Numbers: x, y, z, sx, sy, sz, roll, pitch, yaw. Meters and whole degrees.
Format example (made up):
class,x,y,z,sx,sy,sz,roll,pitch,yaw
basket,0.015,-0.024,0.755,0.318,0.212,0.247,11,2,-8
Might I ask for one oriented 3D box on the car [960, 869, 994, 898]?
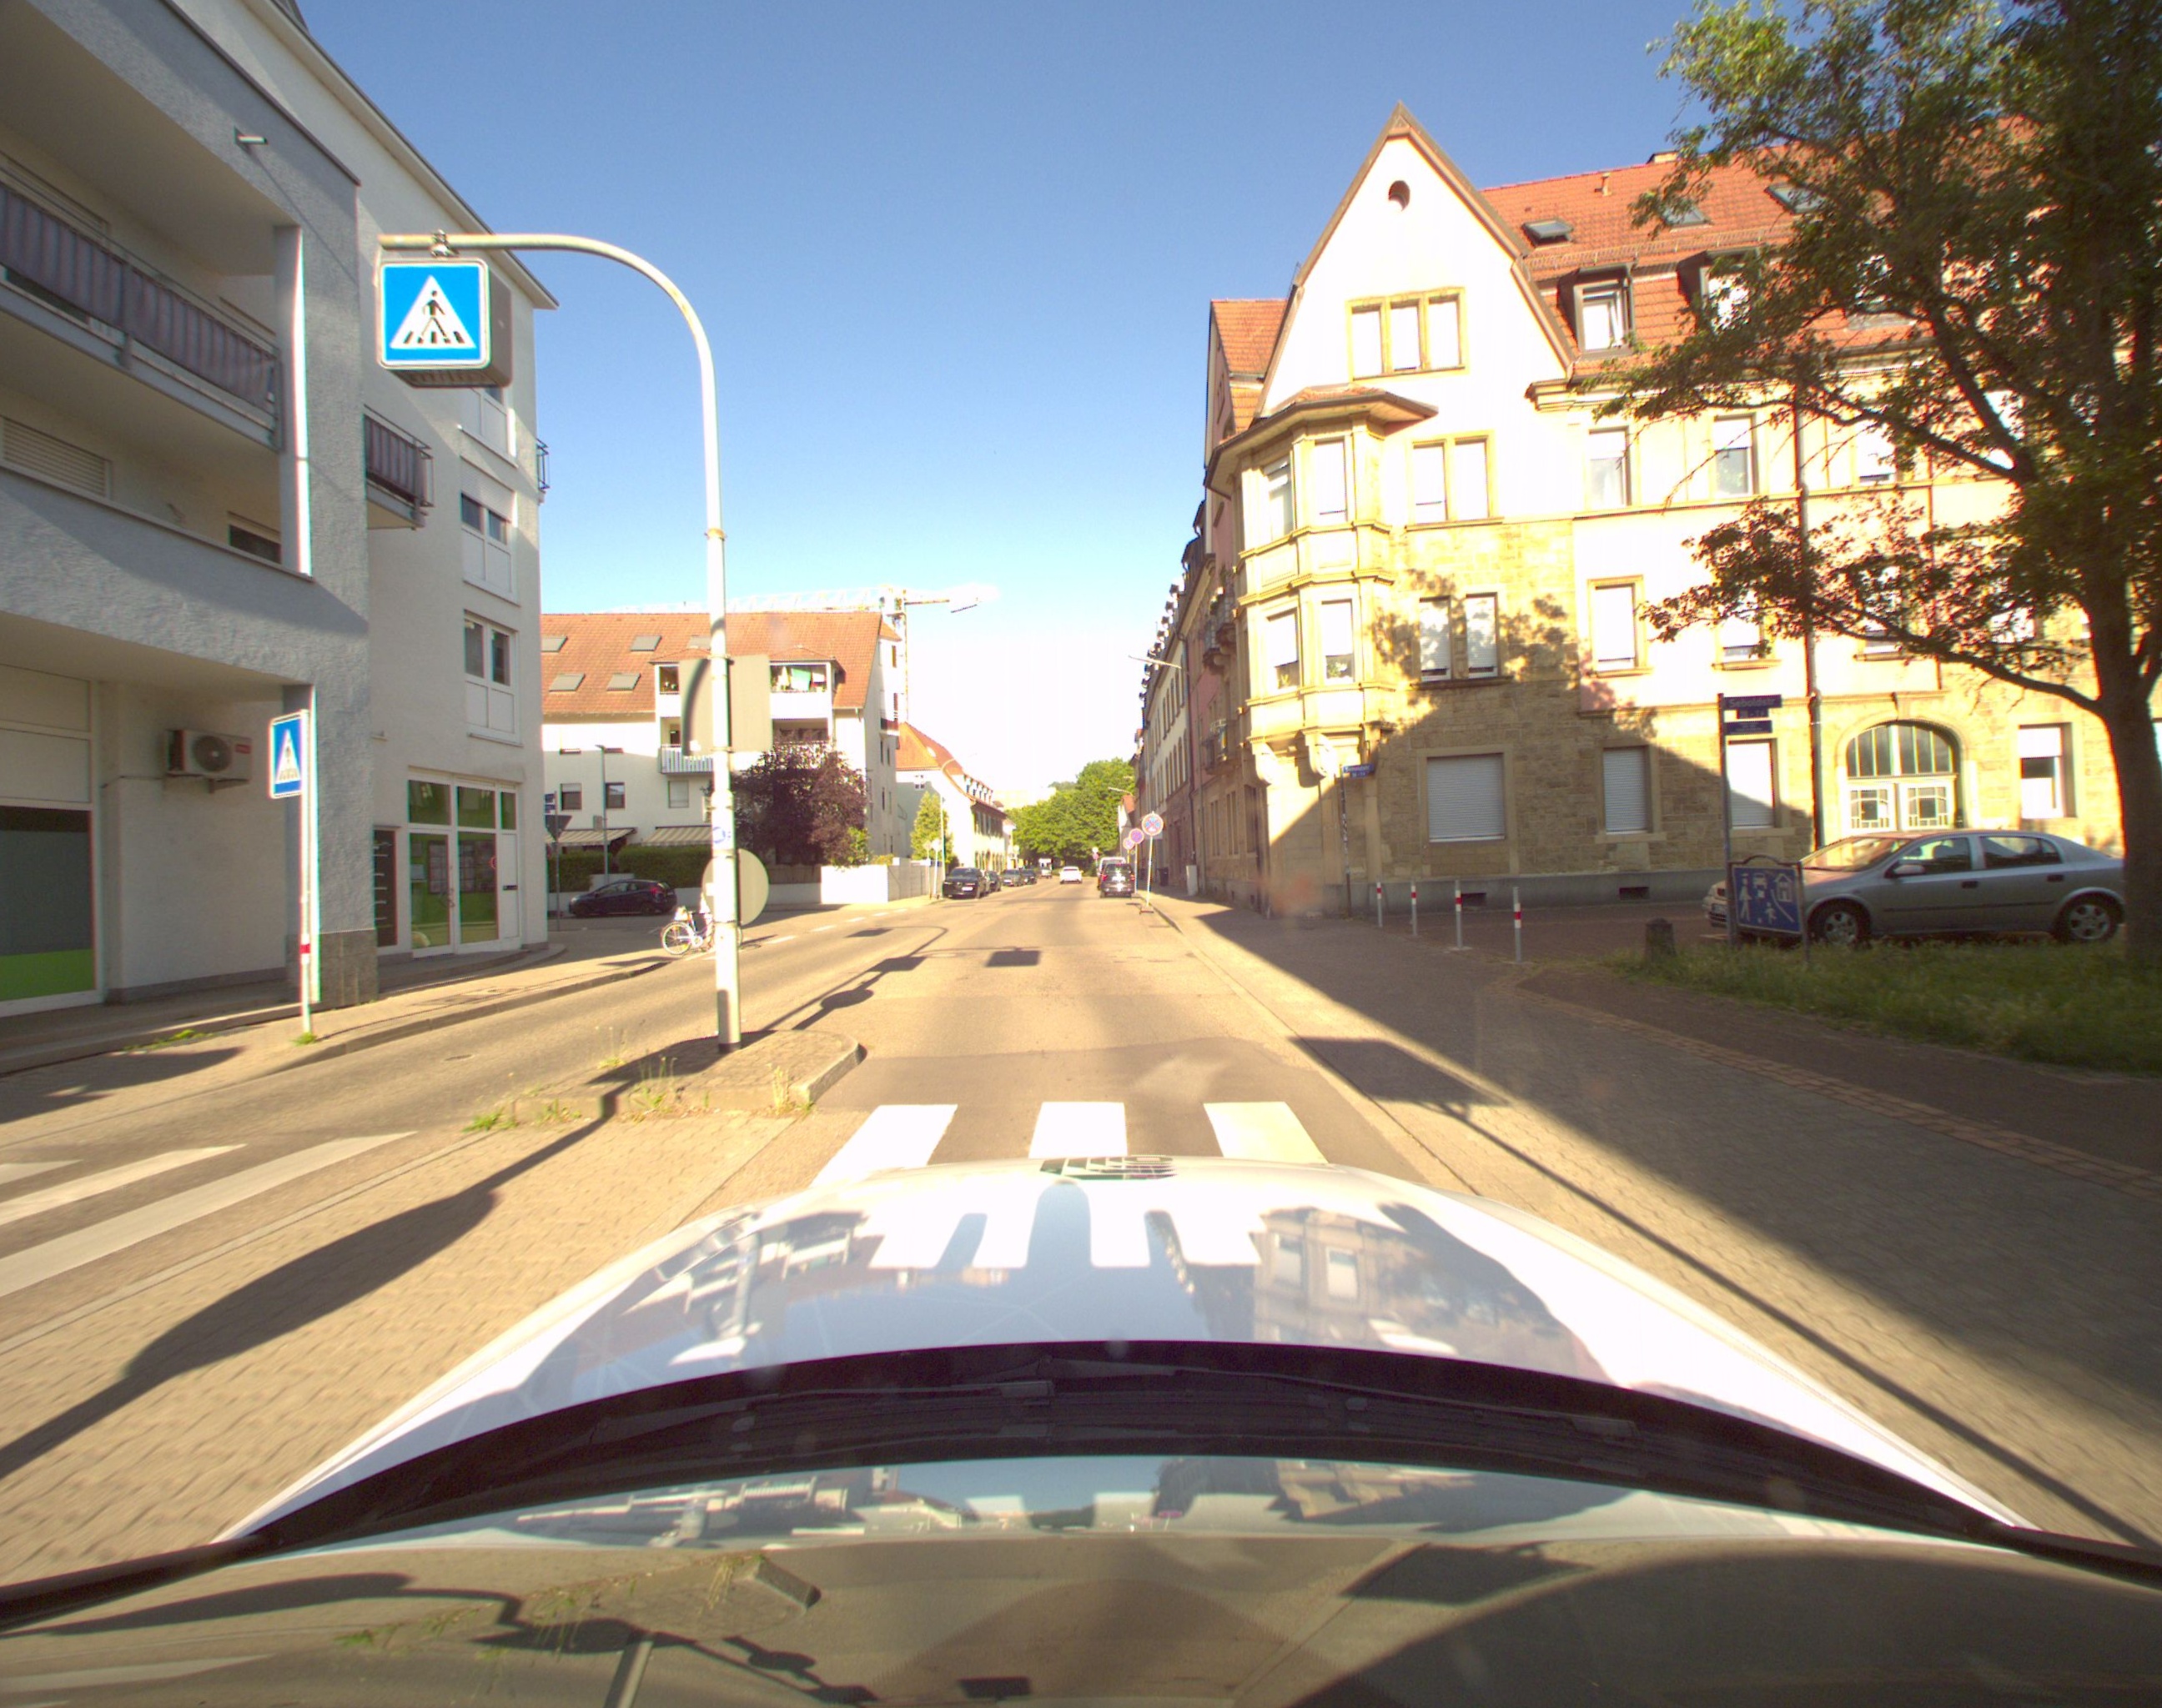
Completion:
class,x,y,z,sx,sy,sz,roll,pitch,yaw
car,-6.091,1.723,48.160,1.549,1.457,3.060,-4,0,-1

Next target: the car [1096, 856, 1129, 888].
class,x,y,z,sx,sy,sz,roll,pitch,yaw
car,2.025,1.134,53.174,1.835,1.905,3.999,-4,0,-1

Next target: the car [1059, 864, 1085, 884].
class,x,y,z,sx,sy,sz,roll,pitch,yaw
car,-0.759,1.653,67.233,1.988,1.466,3.997,-3,0,-2

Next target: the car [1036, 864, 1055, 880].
class,x,y,z,sx,sy,sz,roll,pitch,yaw
car,-4.825,2.396,110.759,1.994,2.013,3.986,-3,0,-10

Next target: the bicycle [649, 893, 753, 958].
class,x,y,z,sx,sy,sz,roll,pitch,yaw
bicycle,-7.775,1.458,16.702,1.780,1.184,0.599,-3,0,0

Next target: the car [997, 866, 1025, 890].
class,x,y,z,sx,sy,sz,roll,pitch,yaw
car,-5.827,1.951,68.416,1.905,1.760,4.127,-4,0,-1

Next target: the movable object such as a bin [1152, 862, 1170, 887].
class,x,y,z,sx,sy,sz,roll,pitch,yaw
movable object such as a bin,4.675,1.172,47.720,0.869,1.377,0.684,-4,1,-3

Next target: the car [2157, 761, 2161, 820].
class,x,y,z,sx,sy,sz,roll,pitch,yaw
car,33.586,-1.975,22.703,1.893,1.766,4.015,0,-2,1

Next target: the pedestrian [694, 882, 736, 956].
class,x,y,z,sx,sy,sz,roll,pitch,yaw
pedestrian,-7.654,1.348,17.038,0.555,1.472,0.601,-3,0,-3

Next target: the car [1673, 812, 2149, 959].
class,x,y,z,sx,sy,sz,roll,pitch,yaw
car,10.403,0.379,10.552,3.933,1.420,1.907,-5,0,8

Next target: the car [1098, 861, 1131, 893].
class,x,y,z,sx,sy,sz,roll,pitch,yaw
car,2.009,1.313,48.251,1.811,1.630,4.003,-4,0,3

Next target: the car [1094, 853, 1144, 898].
class,x,y,z,sx,sy,sz,roll,pitch,yaw
car,1.651,0.900,36.790,2.005,1.853,3.999,-2,0,-1

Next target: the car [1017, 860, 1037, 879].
class,x,y,z,sx,sy,sz,roll,pitch,yaw
car,-5.107,1.461,77.334,1.626,1.630,3.173,-4,0,-1

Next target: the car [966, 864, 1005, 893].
class,x,y,z,sx,sy,sz,roll,pitch,yaw
car,-6.288,1.578,54.124,2.086,1.630,3.820,-4,0,-1

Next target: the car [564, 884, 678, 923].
class,x,y,z,sx,sy,sz,roll,pitch,yaw
car,-18.283,1.961,32.504,3.533,1.181,1.614,-4,0,-4
